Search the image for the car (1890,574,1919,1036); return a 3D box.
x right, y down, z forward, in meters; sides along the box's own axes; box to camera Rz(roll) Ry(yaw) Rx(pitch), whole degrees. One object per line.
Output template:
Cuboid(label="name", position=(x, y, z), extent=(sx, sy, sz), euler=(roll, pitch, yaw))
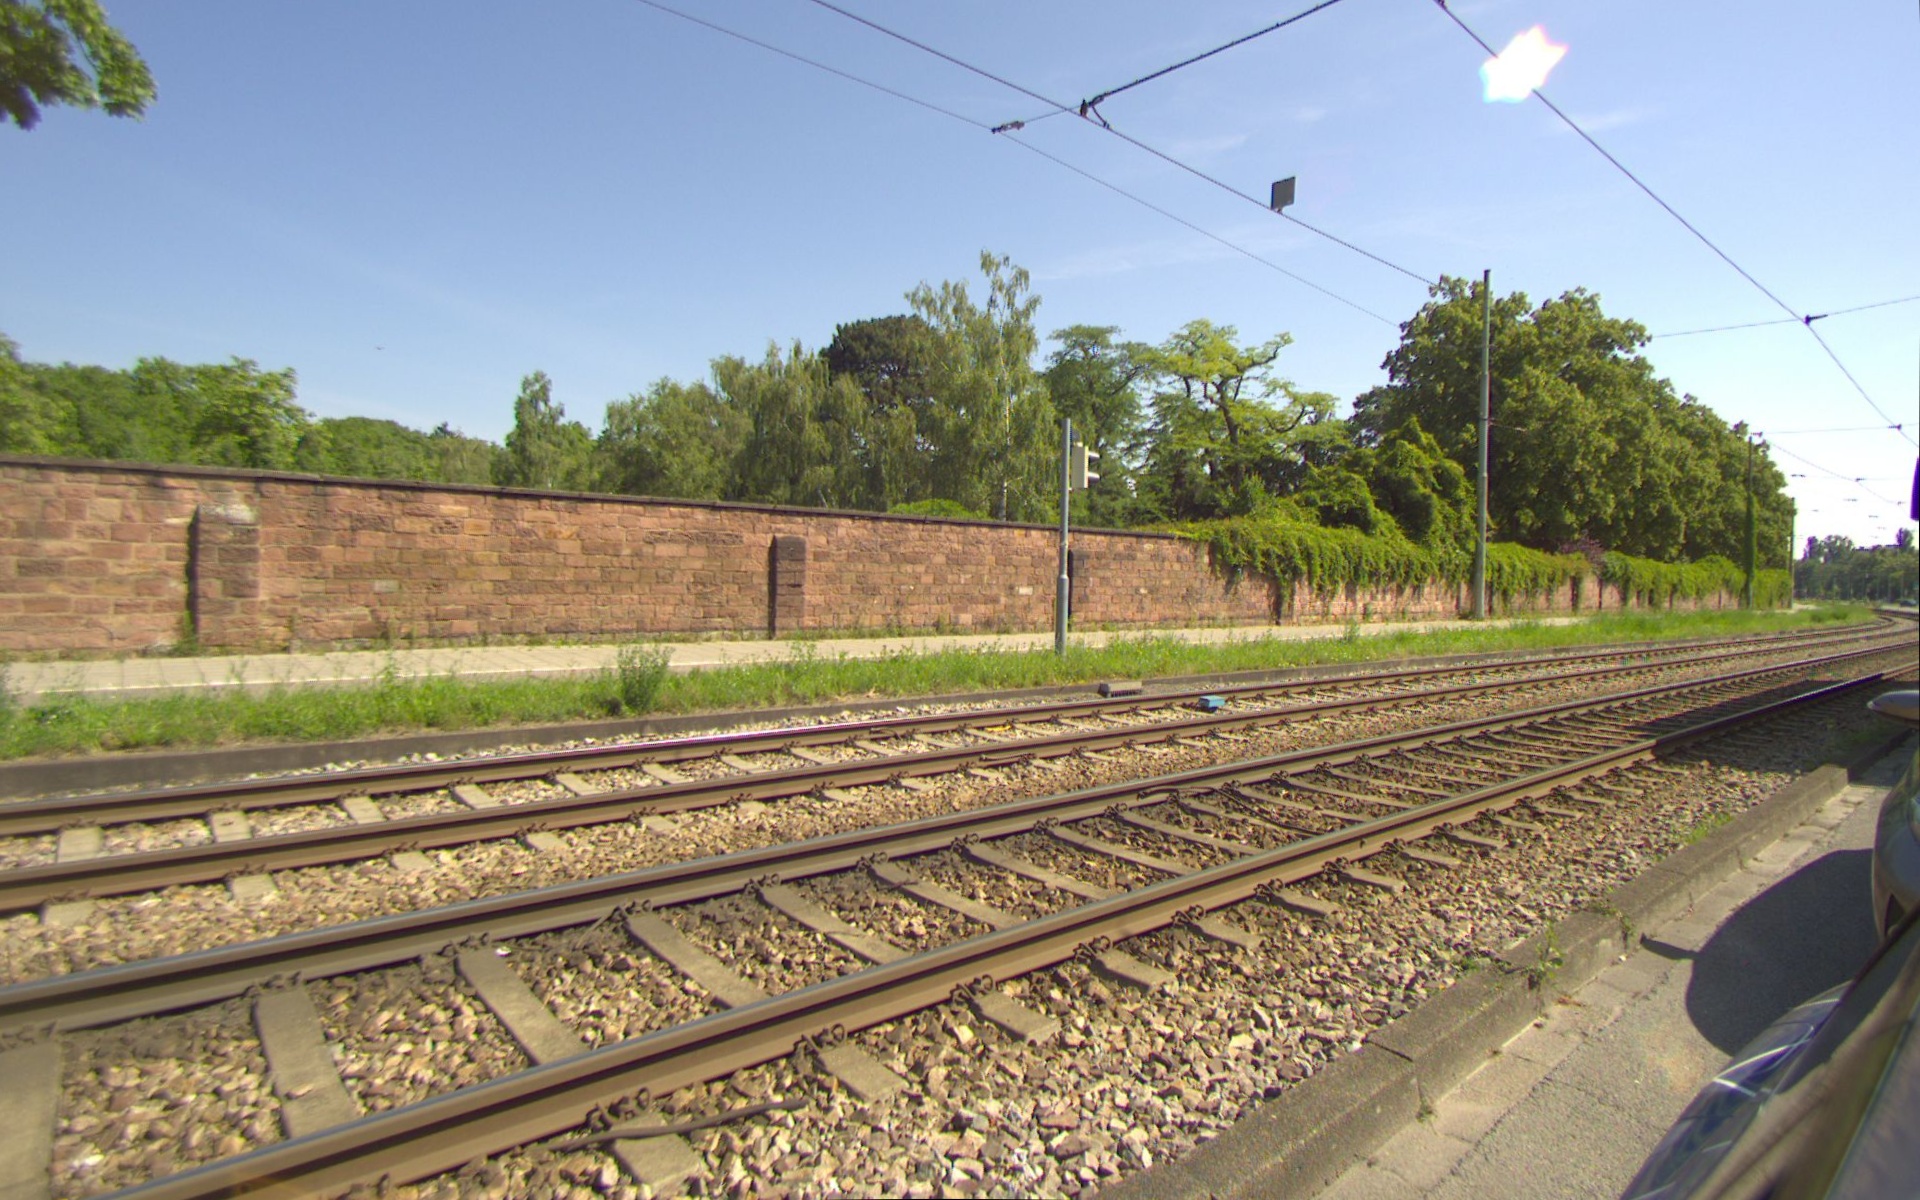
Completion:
Cuboid(label="car", position=(4.973, 0.691, 3.917), extent=(3.930, 1.448, 1.573), euler=(1, 2, -41))

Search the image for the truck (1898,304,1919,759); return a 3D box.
Cuboid(label="truck", position=(14.689, -0.479, 12.524), extent=(14.652, 3.927, 2.933), euler=(1, 2, -41))
